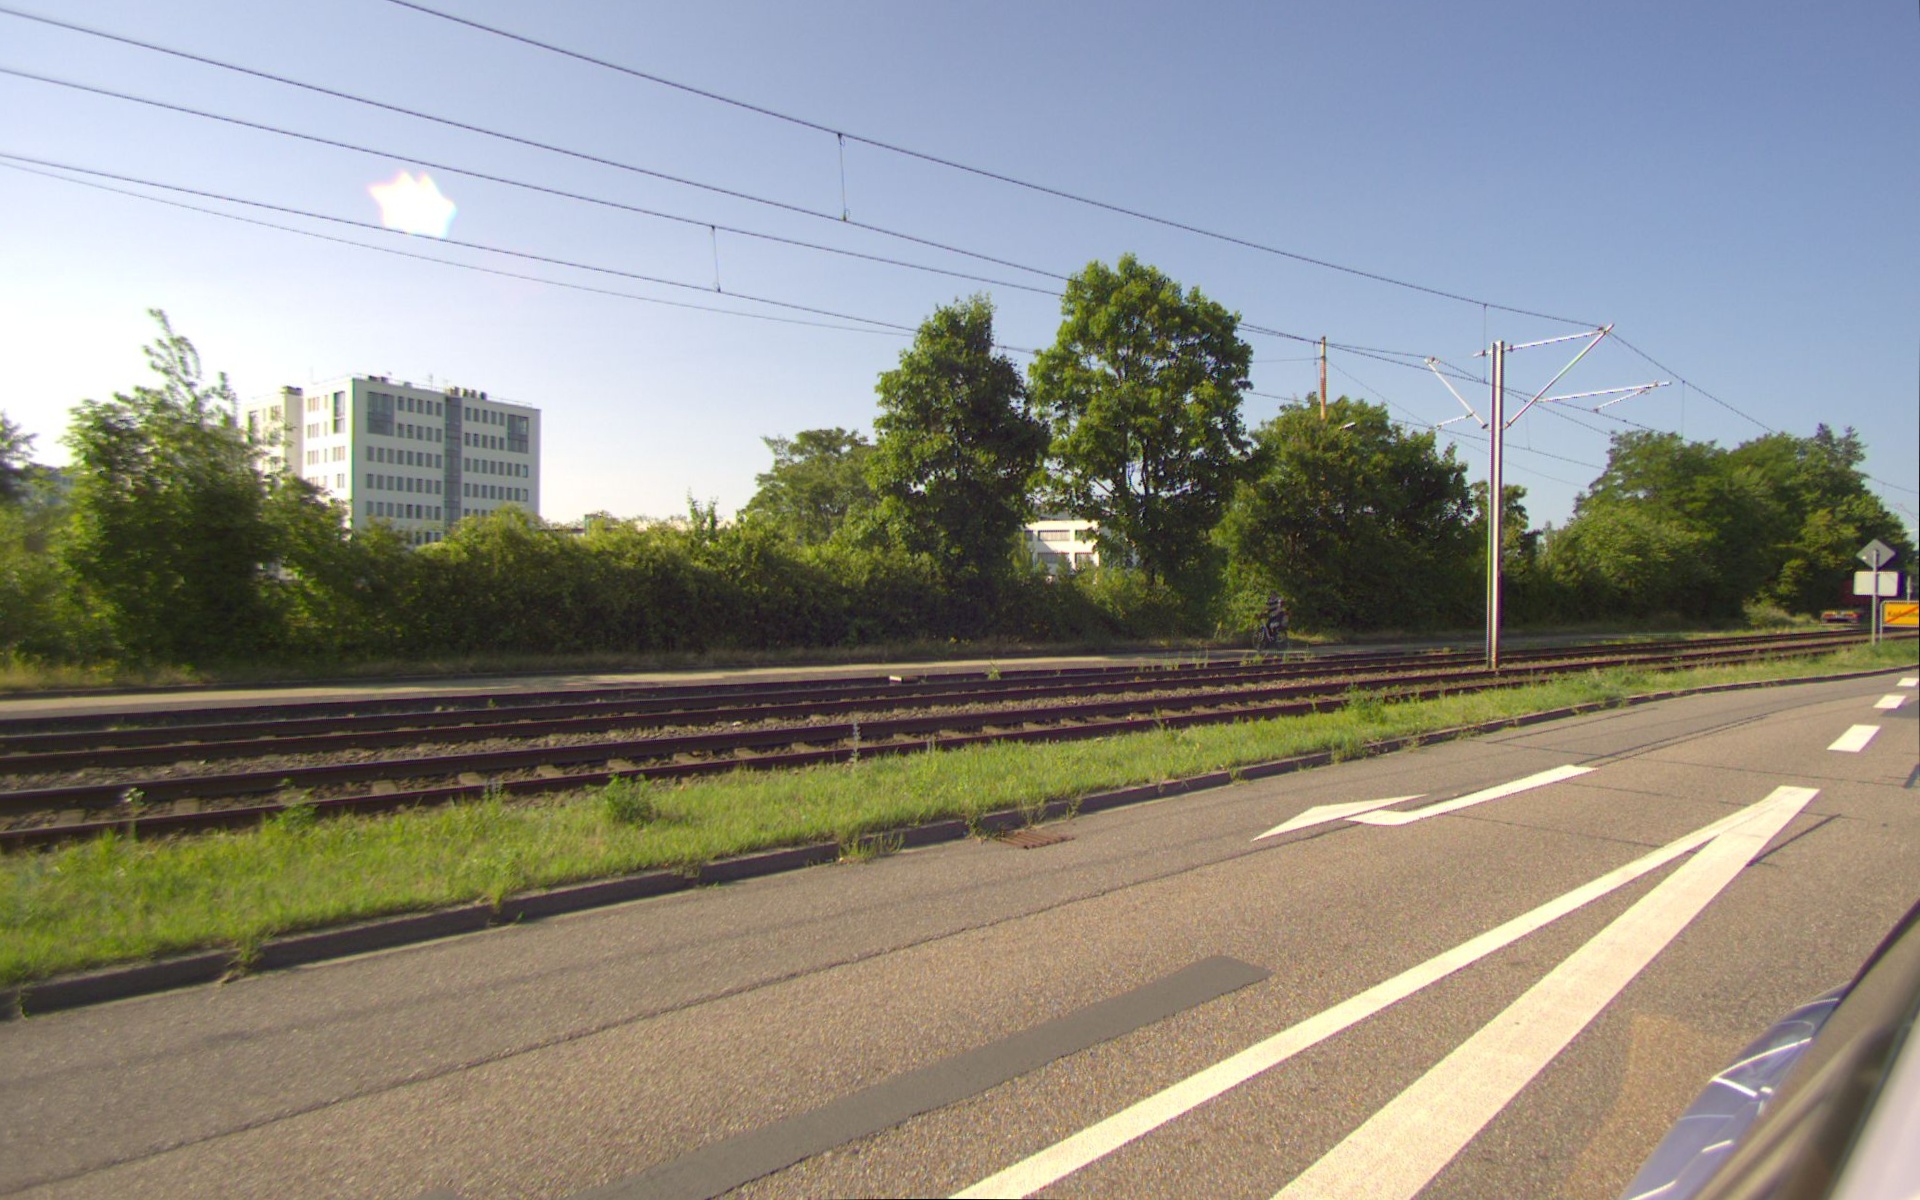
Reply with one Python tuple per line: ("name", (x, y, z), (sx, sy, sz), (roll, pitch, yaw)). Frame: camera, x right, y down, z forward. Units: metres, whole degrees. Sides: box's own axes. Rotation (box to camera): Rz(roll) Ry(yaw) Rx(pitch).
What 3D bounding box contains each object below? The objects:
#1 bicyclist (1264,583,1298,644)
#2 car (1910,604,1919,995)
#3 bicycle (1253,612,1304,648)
("bicyclist", (9.745, 0.403, 30.734), (0.705, 1.830, 0.708), (0, 0, -39))
("car", (5.769, 0.735, 4.500), (4.383, 1.442, 1.819), (0, 0, -41))
("bicycle", (9.676, 0.894, 30.727), (1.840, 1.060, 0.547), (0, 1, -39))
